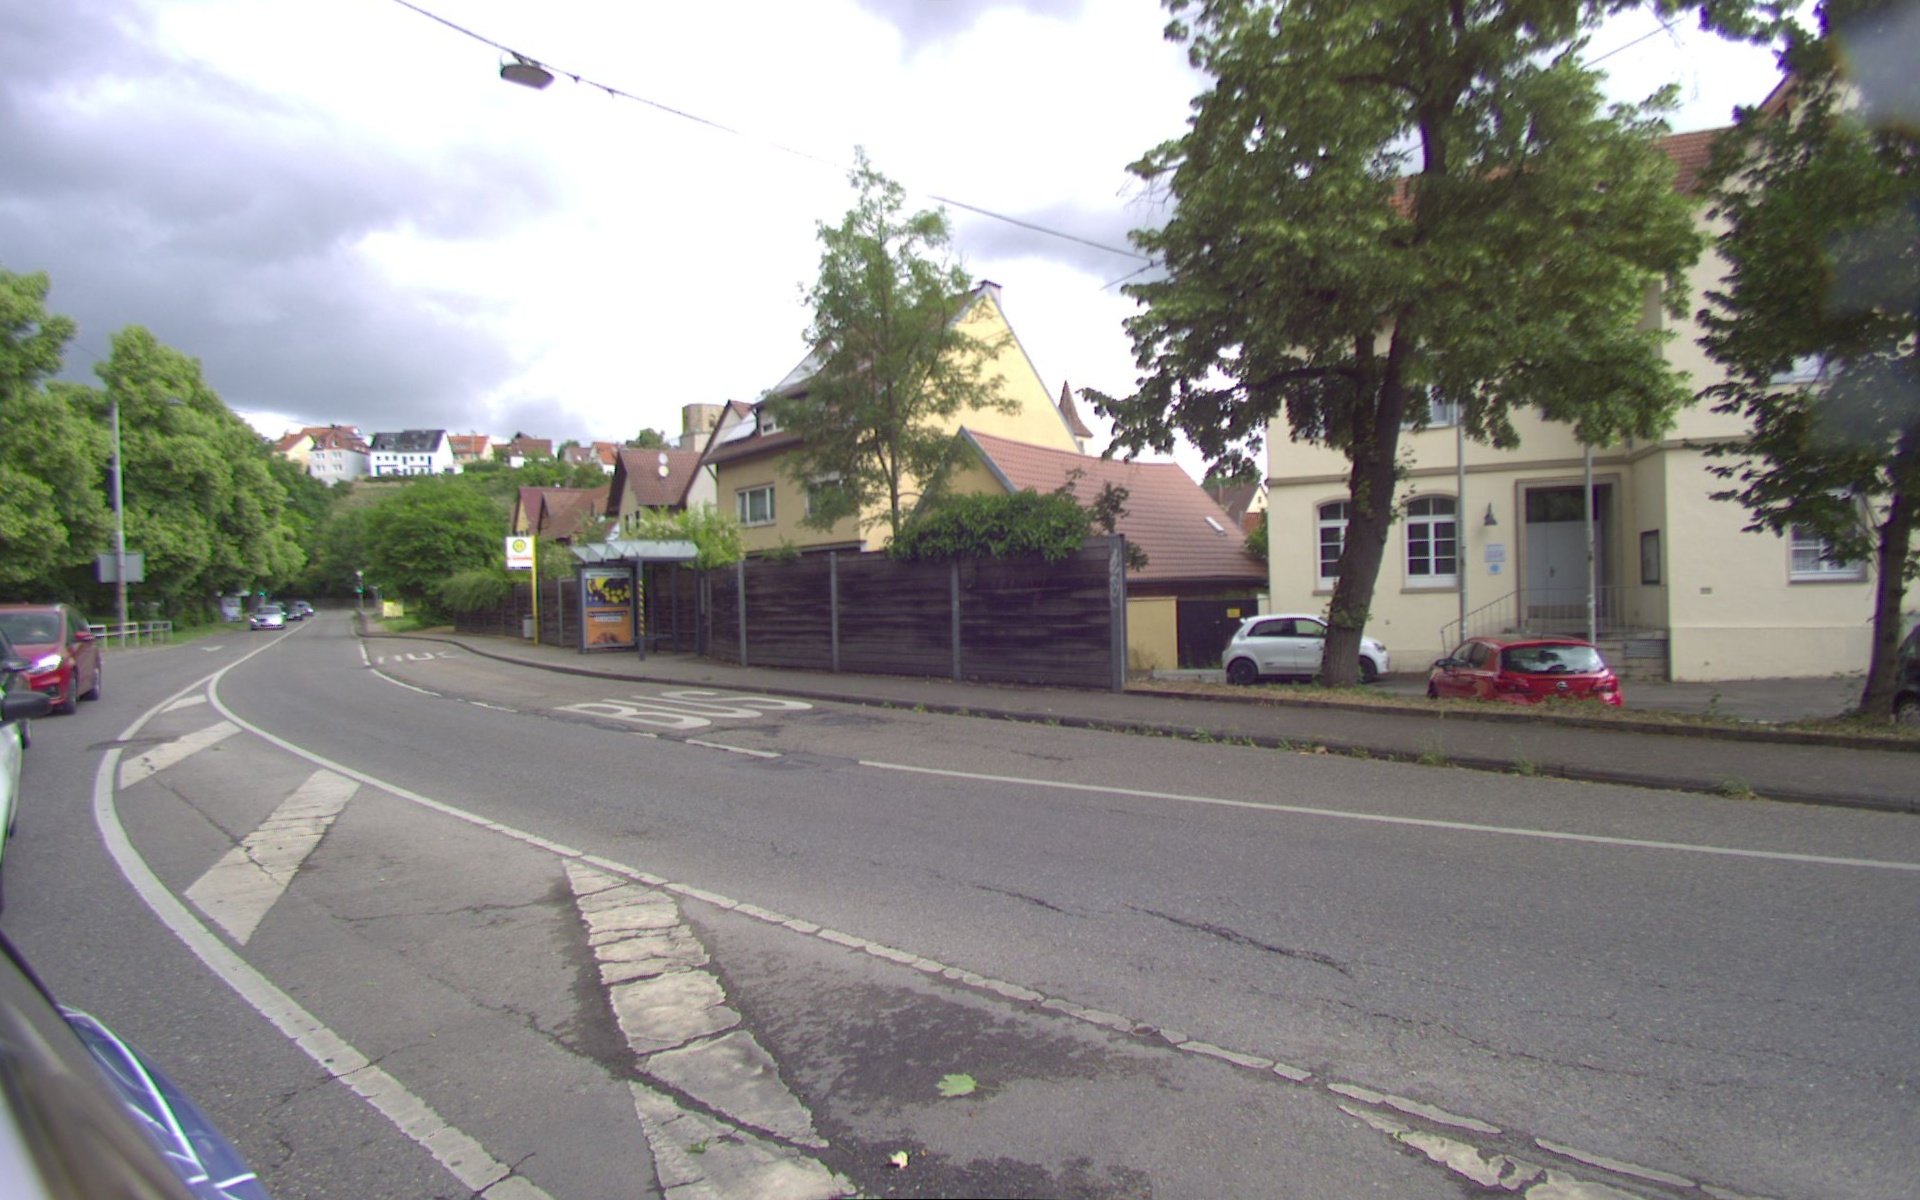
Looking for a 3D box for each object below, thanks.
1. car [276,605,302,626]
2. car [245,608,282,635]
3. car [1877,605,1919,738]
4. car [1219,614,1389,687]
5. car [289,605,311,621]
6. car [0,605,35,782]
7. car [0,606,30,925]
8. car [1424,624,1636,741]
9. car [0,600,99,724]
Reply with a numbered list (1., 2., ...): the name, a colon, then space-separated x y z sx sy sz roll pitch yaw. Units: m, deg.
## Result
1. car: -61.479 1.392 92.724 1.880 1.768 4.011 -2 1 -33
2. car: -45.027 1.344 65.414 1.817 1.652 4.009 -1 0 -37
3. car: 12.699 0.888 11.591 1.586 1.644 3.093 -1 0 2
4. car: 7.746 1.107 22.930 3.487 1.528 1.581 -1 0 20
5. car: -71.675 1.417 109.898 1.817 1.630 4.009 -1 0 -36
6. car: -10.244 0.854 9.843 1.699 1.559 3.787 -1 0 -41
7. car: -6.032 0.817 5.281 1.594 1.525 3.610 -1 0 -41
8. car: 8.126 1.104 14.774 1.590 1.389 3.544 -1 0 10
9. car: -14.510 0.879 15.443 1.800 1.685 4.067 -1 0 -37
